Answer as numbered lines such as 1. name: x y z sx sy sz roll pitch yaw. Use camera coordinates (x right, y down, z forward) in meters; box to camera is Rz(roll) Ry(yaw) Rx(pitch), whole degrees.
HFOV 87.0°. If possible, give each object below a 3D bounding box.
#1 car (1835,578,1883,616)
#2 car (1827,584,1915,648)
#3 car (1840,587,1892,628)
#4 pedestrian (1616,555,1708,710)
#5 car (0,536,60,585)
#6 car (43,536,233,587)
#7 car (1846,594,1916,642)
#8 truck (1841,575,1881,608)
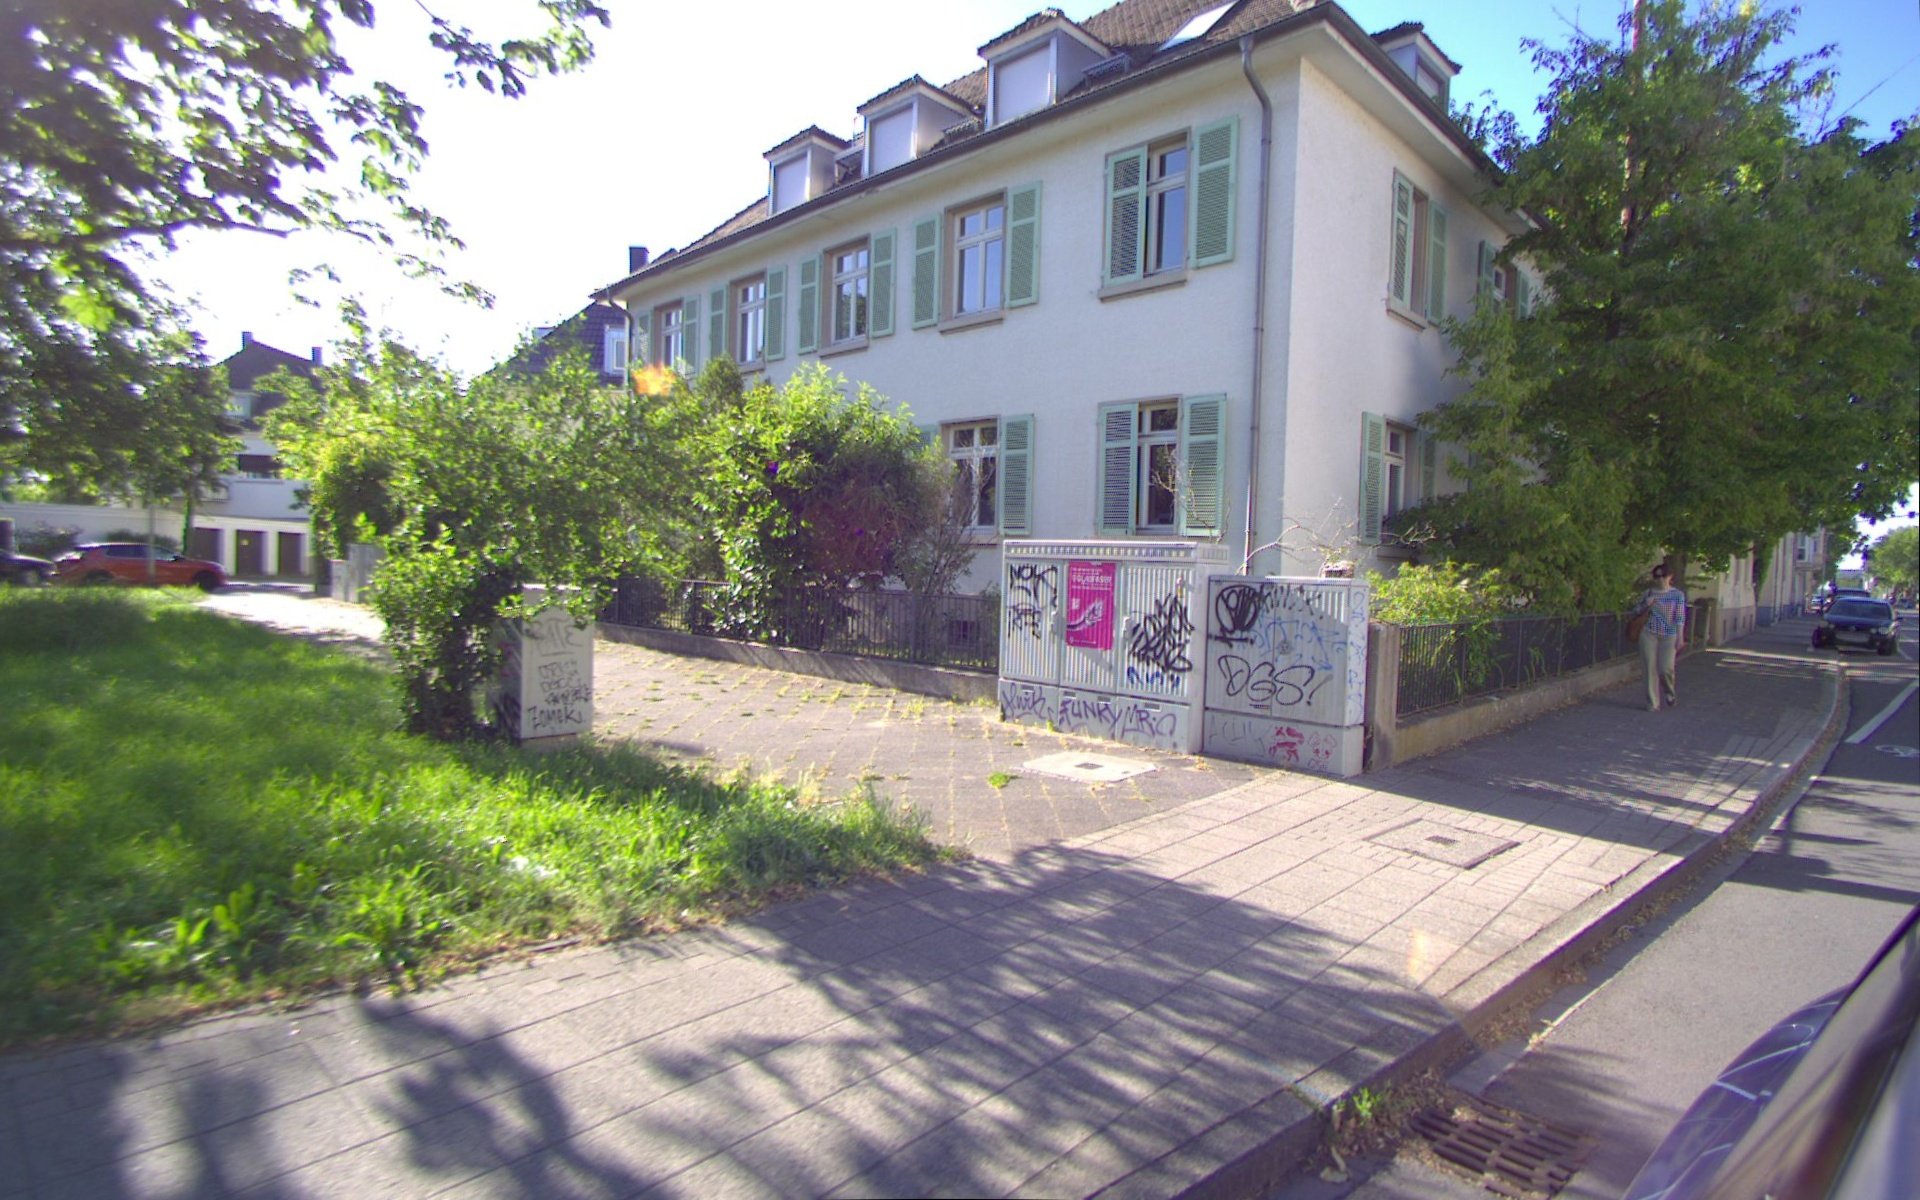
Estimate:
1. car: 50.538 -0.176 56.947 1.904 2.012 4.495 1 1 41
2. car: 25.315 0.393 28.125 1.666 1.583 3.713 4 3 43
3. car: 36.901 0.282 41.269 1.455 1.619 3.246 1 1 40
4. pedestrian: 8.243 0.353 11.883 0.717 1.708 0.857 5 3 41
5. car: -30.624 -1.261 31.258 1.786 1.503 3.953 3 2 34
6. car: -23.432 -1.068 28.994 1.453 1.361 3.971 3 2 30
7. car: 31.453 0.573 34.629 1.599 1.544 3.498 1 1 40
8. truck: 73.899 -0.715 83.003 2.295 2.508 6.053 3 2 42
